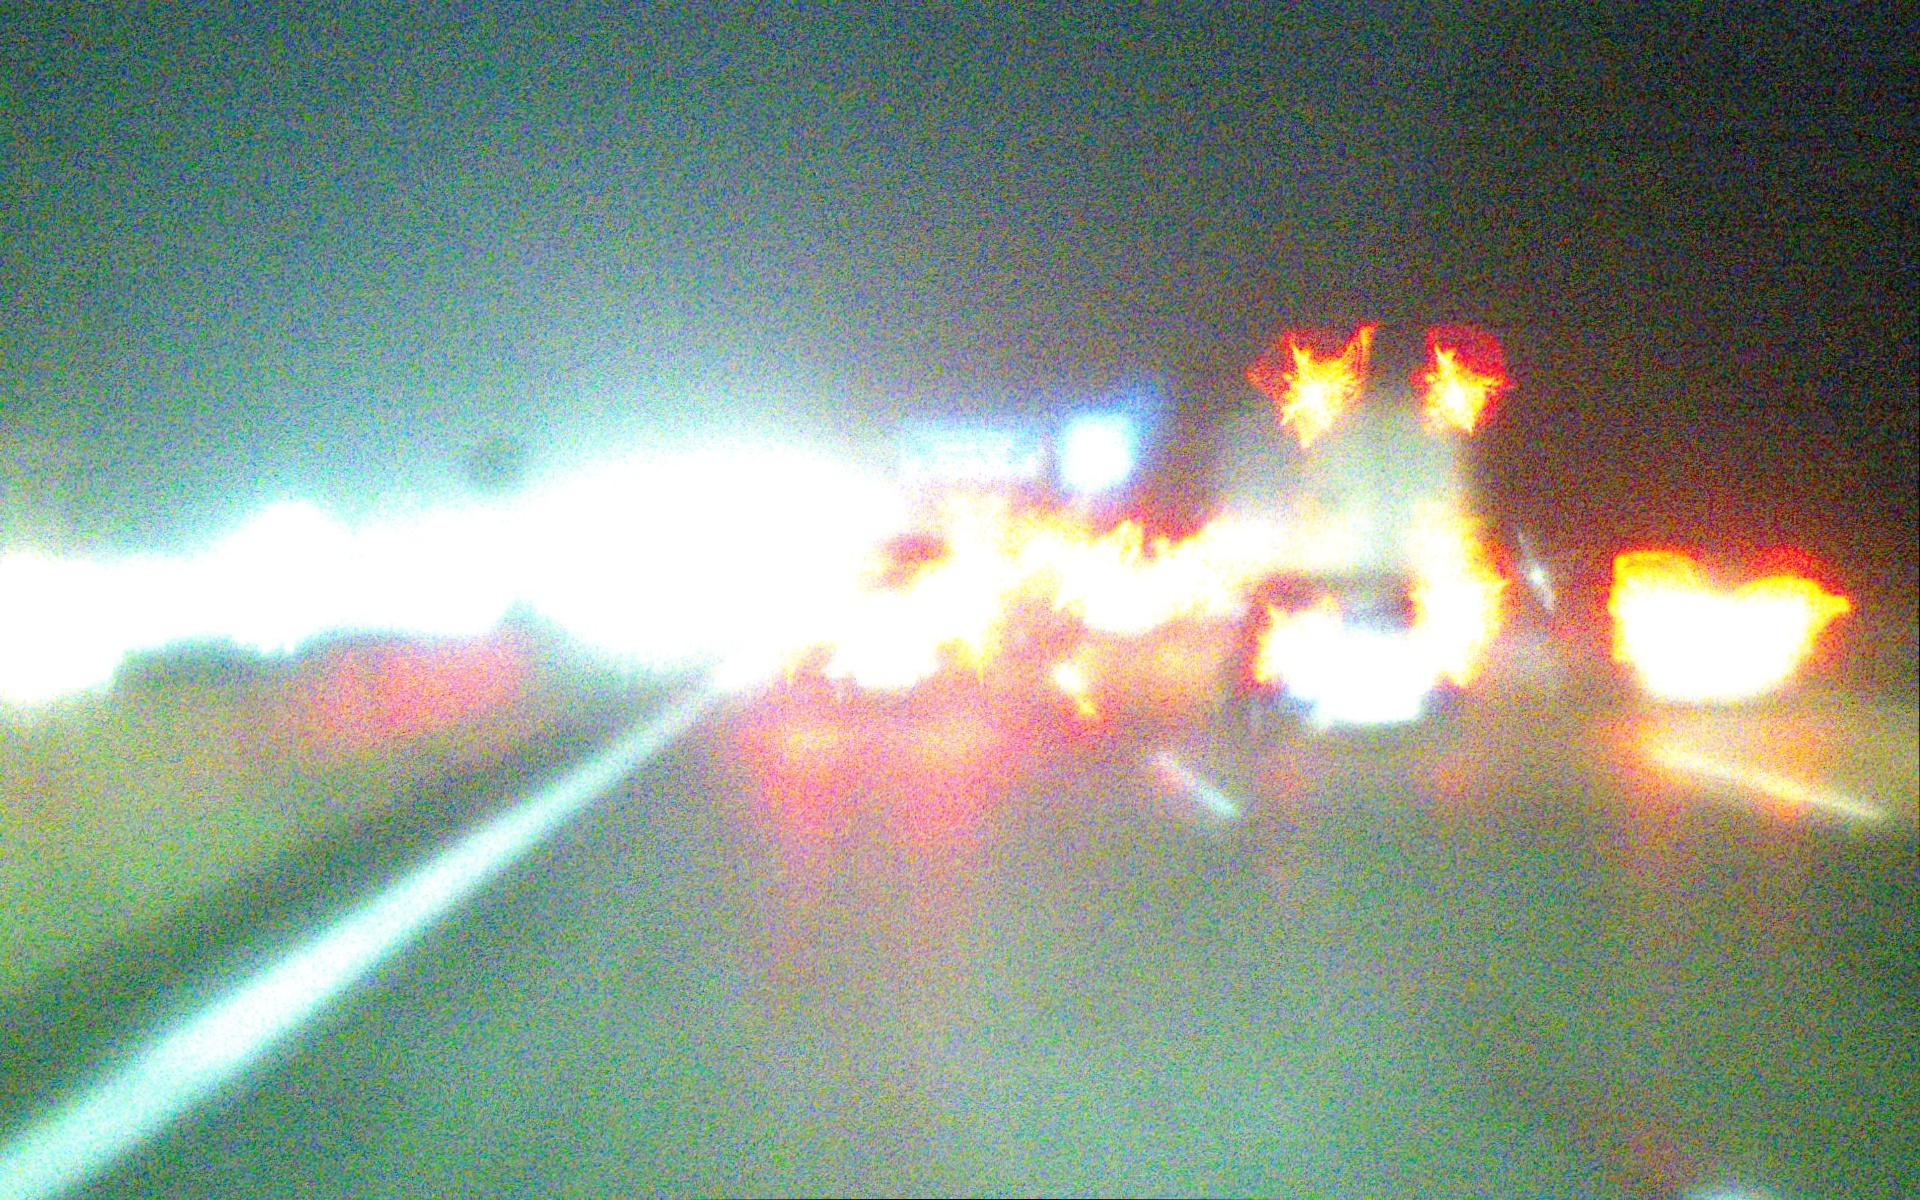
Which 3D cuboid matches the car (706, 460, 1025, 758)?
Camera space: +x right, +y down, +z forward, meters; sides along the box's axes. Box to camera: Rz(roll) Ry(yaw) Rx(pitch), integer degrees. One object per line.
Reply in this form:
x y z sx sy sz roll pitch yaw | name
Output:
-0.935 0.007 33.065 2.709 2.525 5.831 -2 1 -2 | car

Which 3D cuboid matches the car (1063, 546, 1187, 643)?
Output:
2.807 -0.121 59.315 1.884 1.583 4.000 1 1 -1 | car

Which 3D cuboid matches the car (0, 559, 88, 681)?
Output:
-13.676 0.270 48.565 1.678 1.592 4.349 -2 1 -2 | car

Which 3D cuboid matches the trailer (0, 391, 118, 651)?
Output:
-17.315 -1.332 57.218 2.886 4.289 15.720 1 2 -1 | trailer

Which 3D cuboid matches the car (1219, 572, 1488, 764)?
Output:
3.099 0.499 27.708 1.612 1.407 3.792 0 1 -2 | car

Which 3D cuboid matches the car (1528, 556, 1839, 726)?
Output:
7.081 0.346 34.184 1.894 1.481 4.962 1 1 -2 | car

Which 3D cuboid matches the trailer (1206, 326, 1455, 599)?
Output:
6.174 -2.233 59.355 2.803 4.198 12.097 0 1 -1 | trailer

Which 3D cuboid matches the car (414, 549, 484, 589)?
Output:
-18.276 -1.120 123.102 1.962 1.340 4.288 0 2 -2 | car
